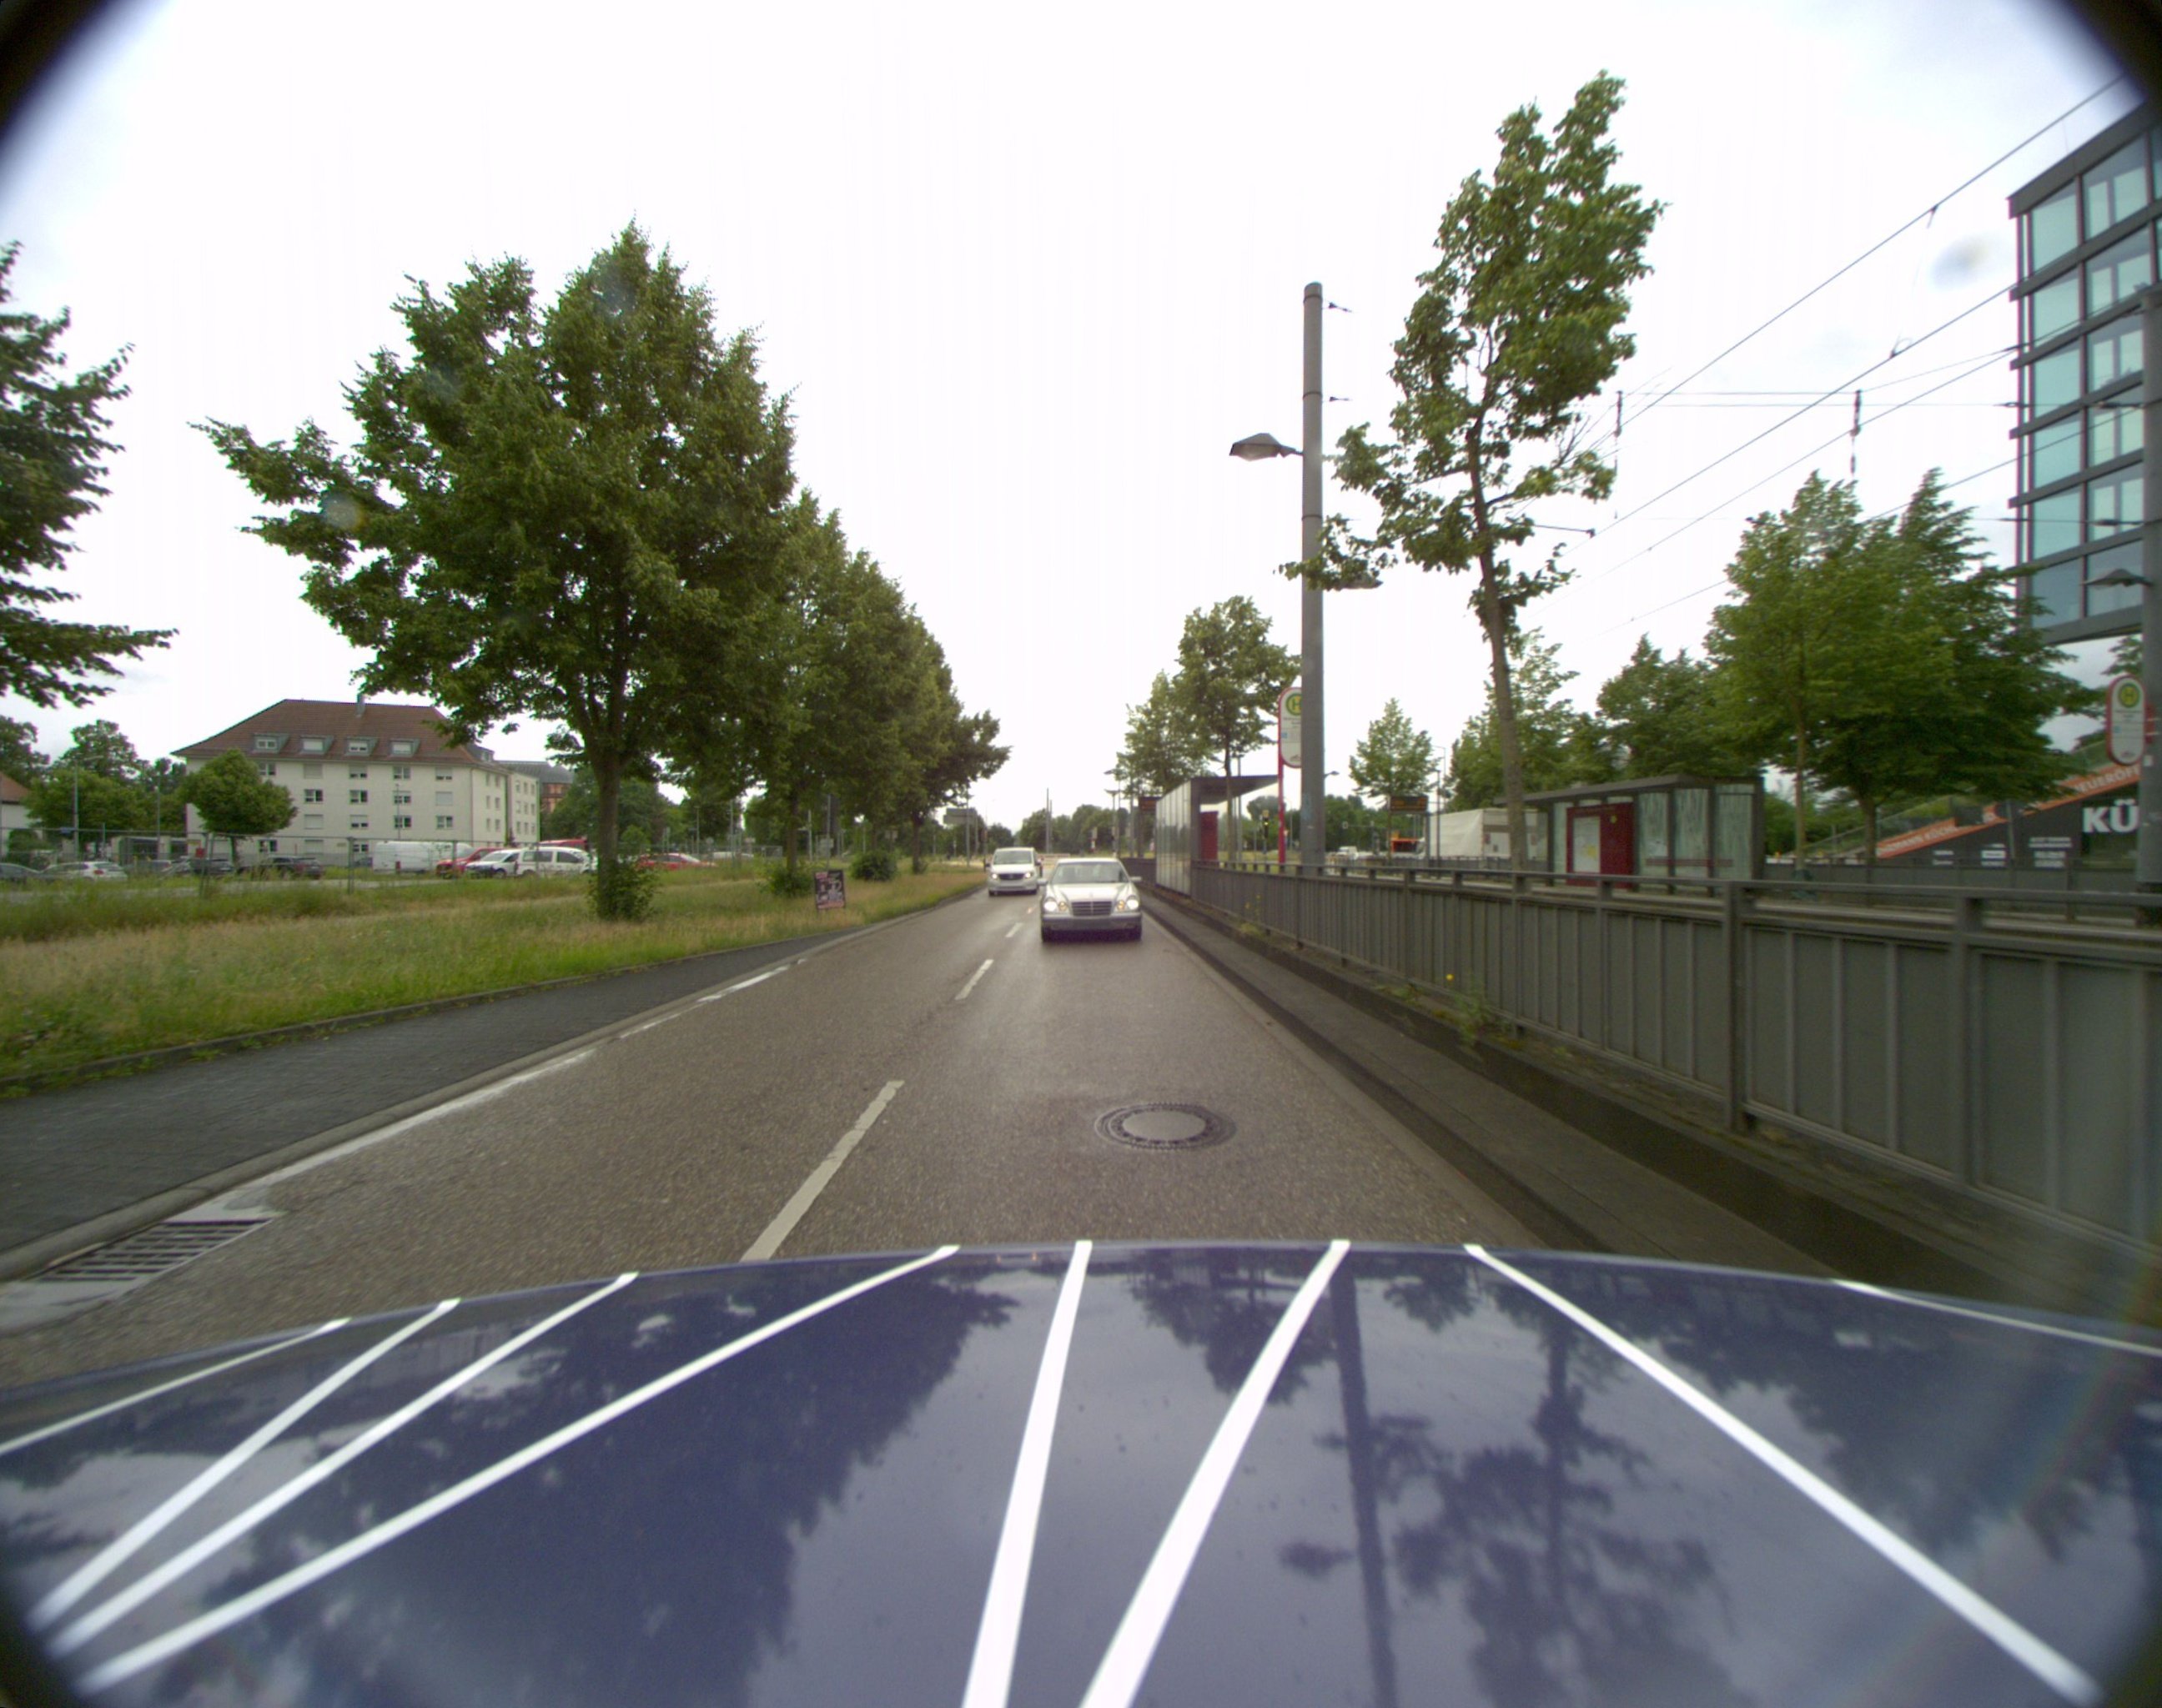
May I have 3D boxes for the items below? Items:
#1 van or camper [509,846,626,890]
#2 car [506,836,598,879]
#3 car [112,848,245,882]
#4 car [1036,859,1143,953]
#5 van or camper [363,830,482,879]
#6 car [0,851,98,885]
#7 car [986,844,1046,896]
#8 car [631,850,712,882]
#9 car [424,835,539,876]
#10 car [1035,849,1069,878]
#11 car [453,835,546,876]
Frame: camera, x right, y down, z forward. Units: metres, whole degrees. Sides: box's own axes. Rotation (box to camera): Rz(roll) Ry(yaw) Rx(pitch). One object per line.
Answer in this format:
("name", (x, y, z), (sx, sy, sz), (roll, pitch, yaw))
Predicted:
("van or camper", (-25.067, 0.646, 37.227), (4.335, 2.002, 1.860), (-1, 1, -7))
("car", (-30.501, 0.180, 43.979), (1.996, 2.297, 4.003), (-1, 1, 12))
("car", (-46.352, 0.546, 39.126), (1.995, 1.543, 4.006), (-2, 1, 26))
("car", (0.150, 0.877, 14.820), (1.738, 1.451, 4.607), (-1, 1, 0))
("van or camper", (-43.190, -0.015, 50.069), (2.343, 3.017, 5.514), (-2, 1, 10))
("car", (-48.649, 0.666, 34.837), (1.995, 1.445, 4.006), (-2, 1, 26))
("car", (-2.590, 0.591, 31.514), (1.972, 1.968, 5.091), (-1, 0, 0))
("car", (-23.894, 0.694, 44.424), (3.802, 1.696, 1.680), (-2, 1, 5))
("car", (-36.415, 0.053, 46.426), (2.195, 2.297, 5.449), (-1, 0, 8))
("car", (-1.735, 0.539, 47.002), (1.799, 1.603, 4.244), (-2, 1, 1))
("car", (-33.990, 0.070, 44.550), (1.997, 2.297, 4.002), (-1, 1, 8))
